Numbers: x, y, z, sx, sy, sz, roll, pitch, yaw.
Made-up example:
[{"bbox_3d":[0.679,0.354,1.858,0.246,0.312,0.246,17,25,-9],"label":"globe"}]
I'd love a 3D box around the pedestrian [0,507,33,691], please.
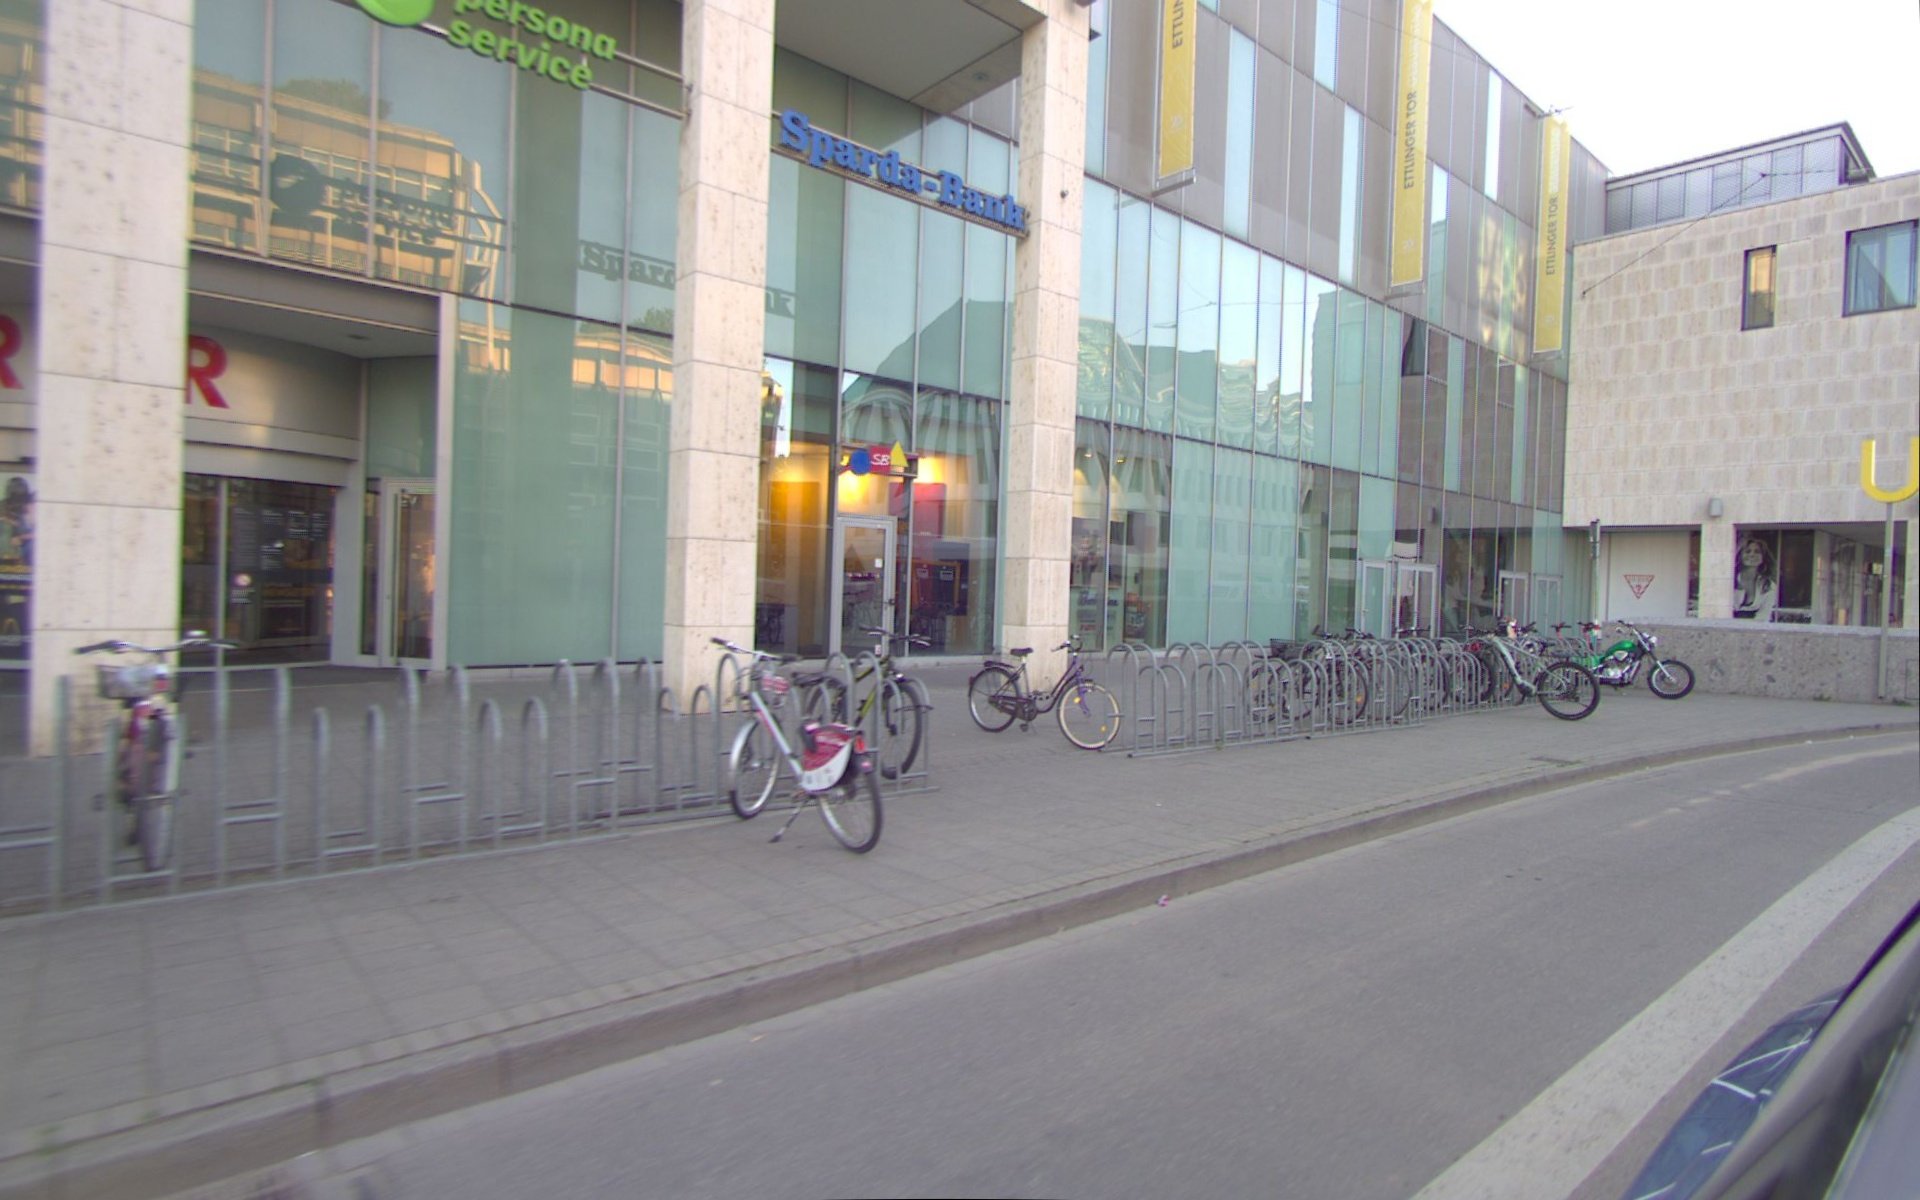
[{"bbox_3d":[-9.853,-0.036,9.992,0.973,1.798,0.862,1,2,-41],"label":"pedestrian"}]

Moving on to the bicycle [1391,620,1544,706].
[{"bbox_3d":[7.371,0.883,14.804,0.545,1.144,1.994,1,-1,-35],"label":"bicycle"}]

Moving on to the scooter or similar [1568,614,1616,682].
[{"bbox_3d":[12.250,0.916,19.612,0.851,1.273,0.399,1,0,-30],"label":"scooter or similar"}]

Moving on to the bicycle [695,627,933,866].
[{"bbox_3d":[-0.928,0.748,5.928,0.559,1.061,1.905,1,1,-35],"label":"bicycle"}]

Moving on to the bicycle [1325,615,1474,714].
[{"bbox_3d":[5.810,0.813,13.461,0.507,1.143,1.770,1,1,-37],"label":"bicycle"}]

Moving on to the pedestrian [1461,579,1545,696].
[{"bbox_3d":[8.554,0.566,15.949,0.803,1.757,0.839,1,1,-33],"label":"pedestrian"}]

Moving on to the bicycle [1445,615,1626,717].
[{"bbox_3d":[7.497,0.823,13.283,0.559,1.143,1.995,1,1,-35],"label":"bicycle"}]

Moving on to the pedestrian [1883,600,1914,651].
[{"bbox_3d":[30.503,0.823,32.896,0.761,1.587,0.635,3,0,-41],"label":"pedestrian"}]

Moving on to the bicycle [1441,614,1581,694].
[{"bbox_3d":[9.054,0.860,16.716,0.506,1.143,1.995,1,1,-35],"label":"bicycle"}]

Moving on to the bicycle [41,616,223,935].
[{"bbox_3d":[-3.928,0.708,4.897,0.560,1.127,1.878,1,2,-36],"label":"bicycle"}]

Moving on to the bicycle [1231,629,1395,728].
[{"bbox_3d":[4.009,0.857,11.609,0.507,0.948,1.741,1,1,-41],"label":"bicycle"}]

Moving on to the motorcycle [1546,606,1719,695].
[{"bbox_3d":[11.565,0.826,17.474,0.892,1.350,2.302,1,1,-42],"label":"motorcycle"}]

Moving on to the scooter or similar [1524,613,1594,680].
[{"bbox_3d":[11.884,0.907,20.102,1.099,1.273,0.397,2,0,12],"label":"scooter or similar"}]

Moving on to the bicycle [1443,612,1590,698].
[{"bbox_3d":[8.807,0.839,16.106,0.506,1.193,1.995,1,1,-35],"label":"bicycle"}]

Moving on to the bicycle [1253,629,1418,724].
[{"bbox_3d":[4.437,0.871,12.071,0.507,0.948,1.811,1,1,-41],"label":"bicycle"}]

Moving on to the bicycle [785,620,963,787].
[{"bbox_3d":[-0.714,0.724,7.817,0.589,1.114,1.823,1,-1,-32],"label":"bicycle"}]

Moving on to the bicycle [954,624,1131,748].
[{"bbox_3d":[0.790,0.806,10.063,1.700,1.036,0.592,3,1,39],"label":"bicycle"}]
